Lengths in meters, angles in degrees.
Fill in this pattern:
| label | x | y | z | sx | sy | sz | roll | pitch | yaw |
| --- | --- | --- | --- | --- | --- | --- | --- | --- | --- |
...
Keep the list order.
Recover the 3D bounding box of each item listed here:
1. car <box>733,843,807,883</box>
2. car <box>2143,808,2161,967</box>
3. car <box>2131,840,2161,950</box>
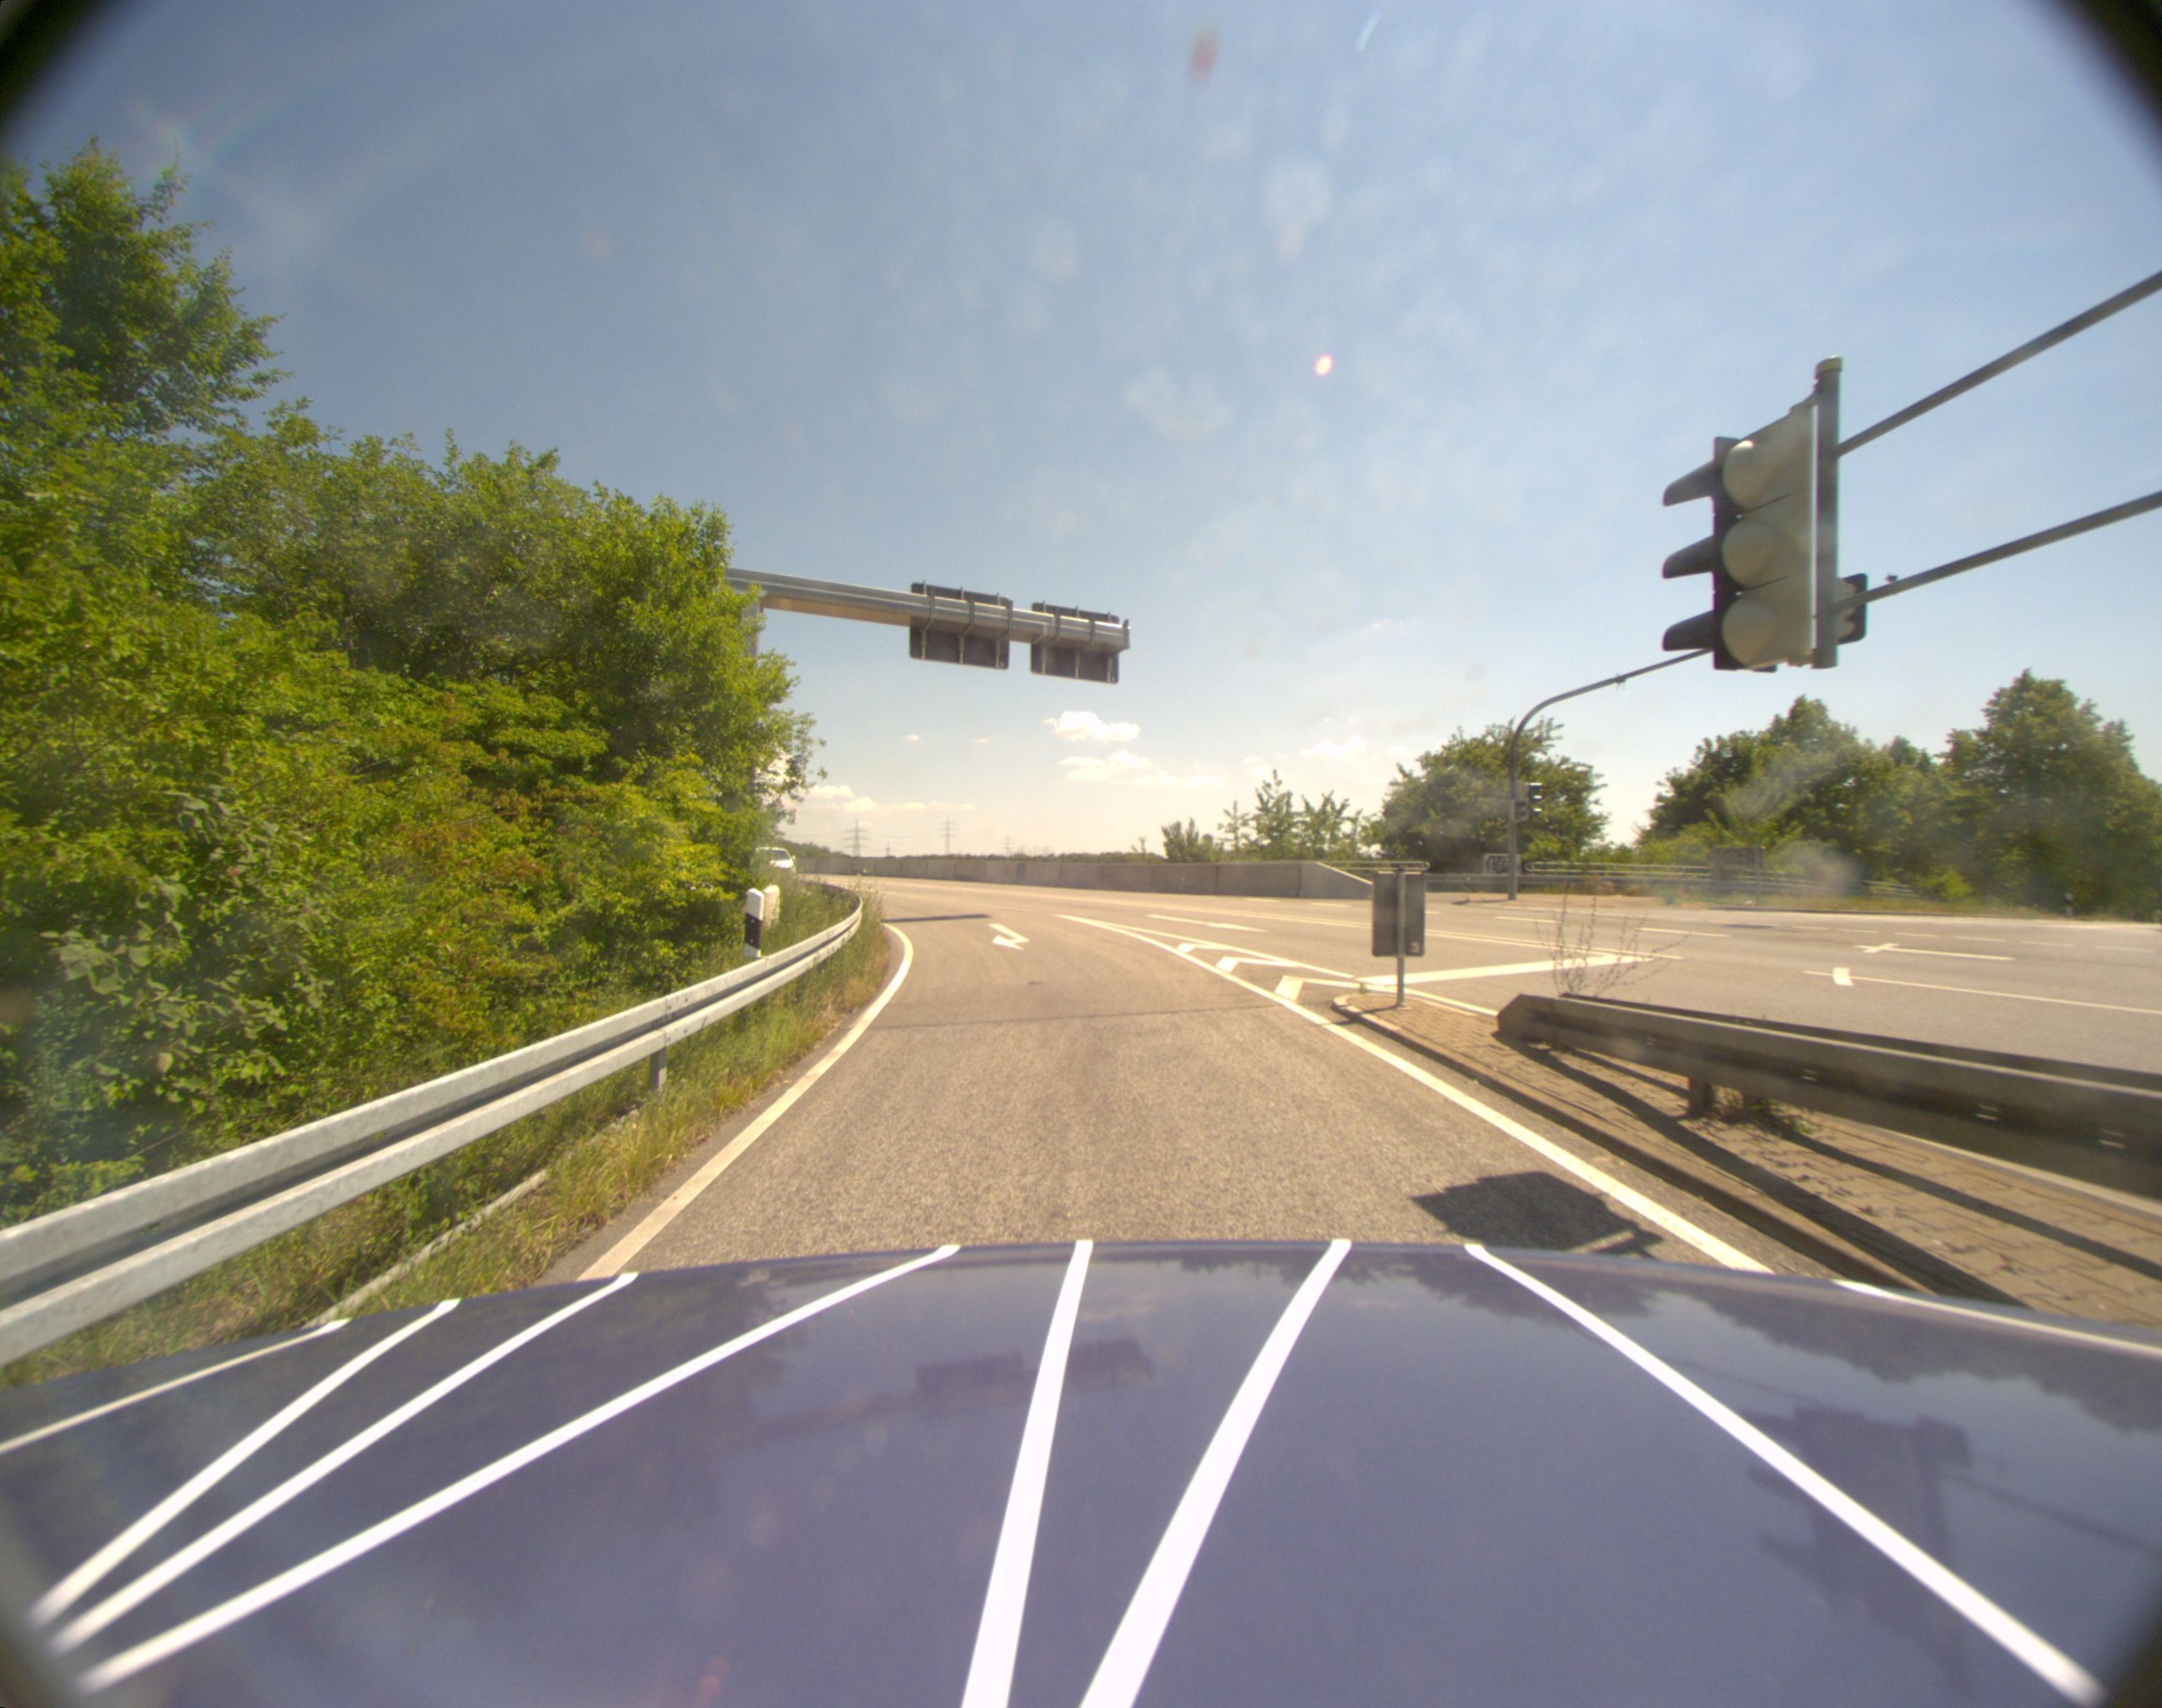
| label | x | y | z | sx | sy | sz | roll | pitch | yaw |
| --- | --- | --- | --- | --- | --- | --- | --- | --- | --- |
| car | -17.624 | 0.513 | 42.894 | 2.036 | 2.072 | 5.856 | -1 | 0 | -41 |
| car | 12.422 | 0.405 | 7.019 | 2.120 | 1.926 | 5.422 | -1 | 0 | 44 |
| car | 20.998 | 0.767 | 13.949 | 4.542 | 1.908 | 1.939 | 1 | 0 | -36 |
